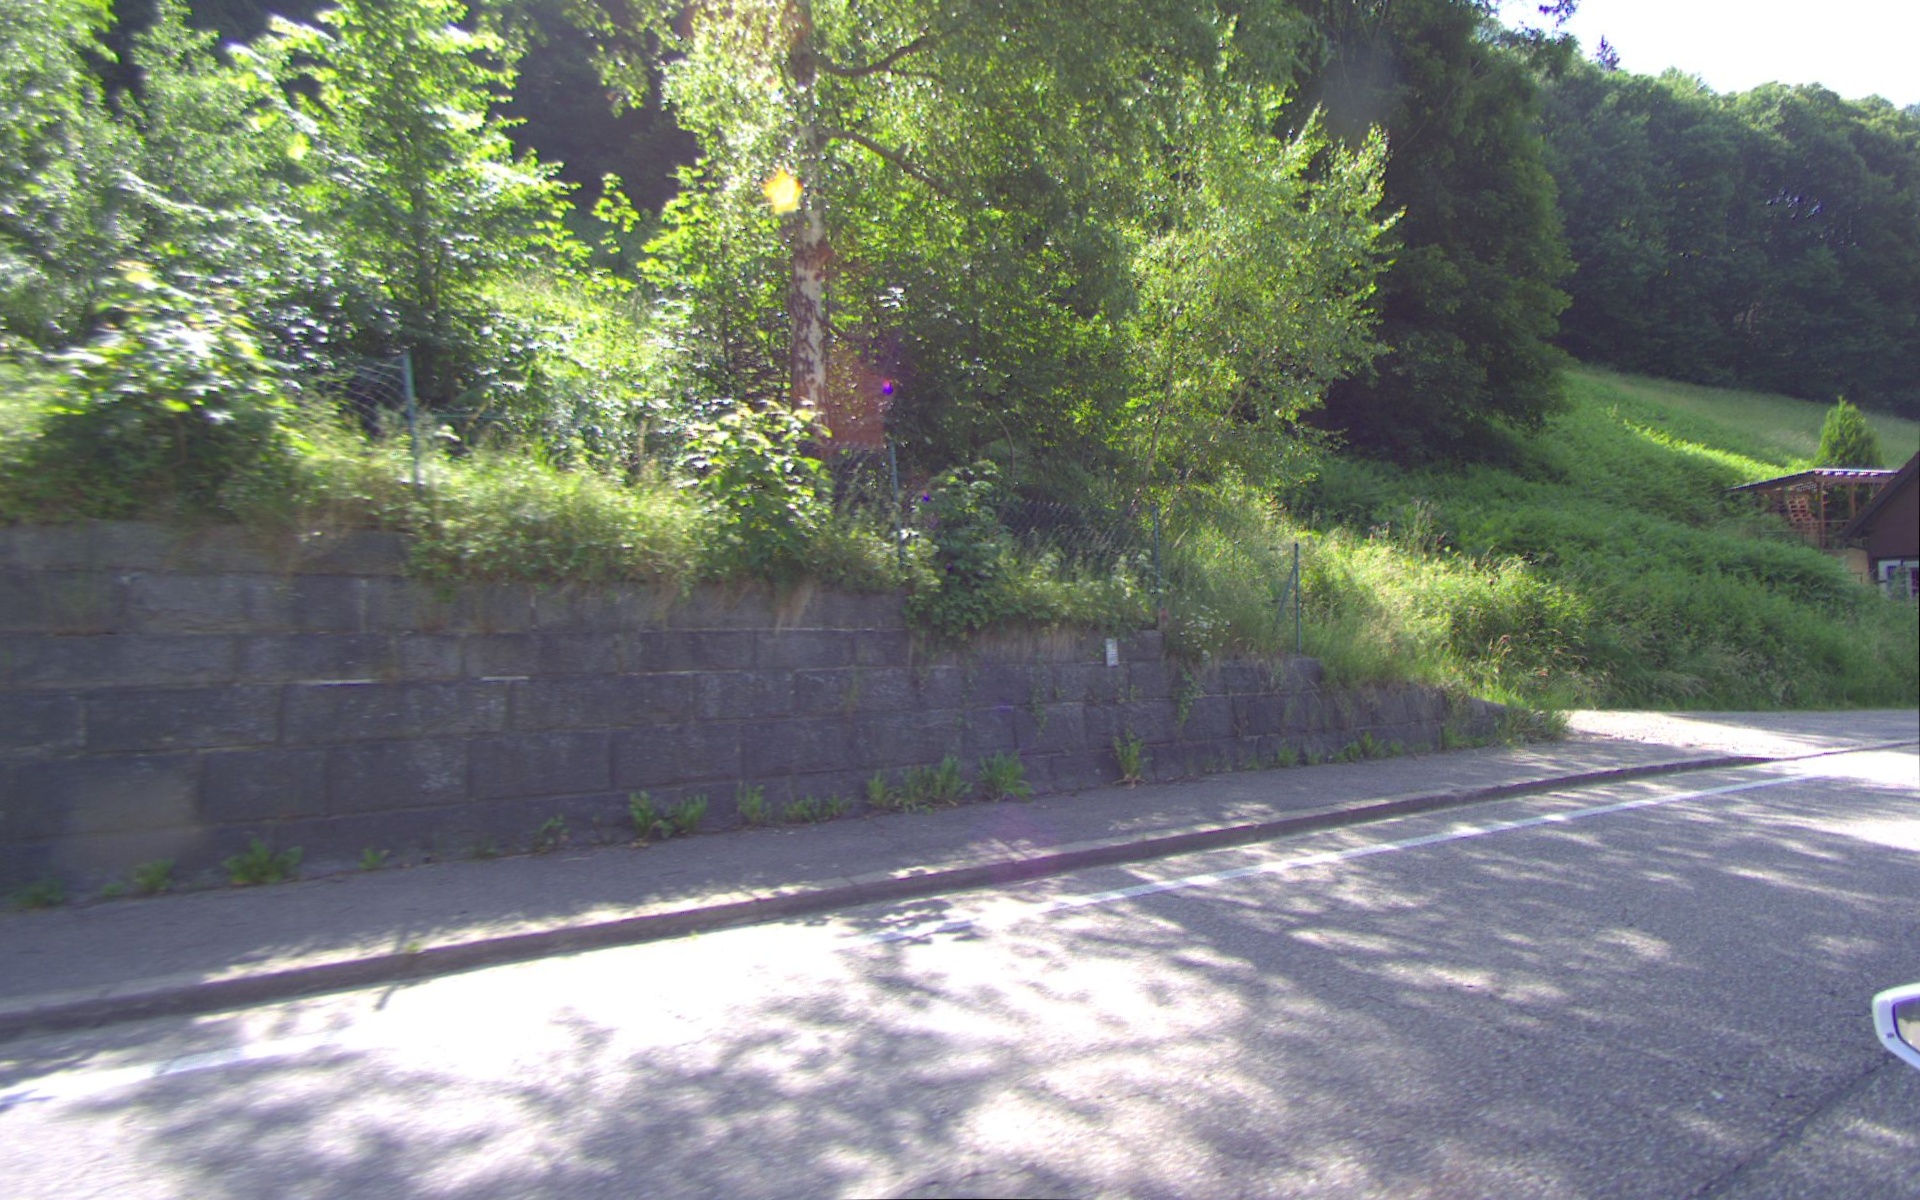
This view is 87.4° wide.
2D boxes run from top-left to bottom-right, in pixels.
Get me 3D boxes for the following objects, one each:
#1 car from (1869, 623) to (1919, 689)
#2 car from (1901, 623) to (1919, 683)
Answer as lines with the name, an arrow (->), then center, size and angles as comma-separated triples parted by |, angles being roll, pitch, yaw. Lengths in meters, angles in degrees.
car -> 22.592, 1.247, 21.836 | 1.833, 1.436, 3.803 | 0, 0, -26
car -> 24.757, 1.280, 23.381 | 1.839, 1.452, 3.803 | 0, 0, -26
